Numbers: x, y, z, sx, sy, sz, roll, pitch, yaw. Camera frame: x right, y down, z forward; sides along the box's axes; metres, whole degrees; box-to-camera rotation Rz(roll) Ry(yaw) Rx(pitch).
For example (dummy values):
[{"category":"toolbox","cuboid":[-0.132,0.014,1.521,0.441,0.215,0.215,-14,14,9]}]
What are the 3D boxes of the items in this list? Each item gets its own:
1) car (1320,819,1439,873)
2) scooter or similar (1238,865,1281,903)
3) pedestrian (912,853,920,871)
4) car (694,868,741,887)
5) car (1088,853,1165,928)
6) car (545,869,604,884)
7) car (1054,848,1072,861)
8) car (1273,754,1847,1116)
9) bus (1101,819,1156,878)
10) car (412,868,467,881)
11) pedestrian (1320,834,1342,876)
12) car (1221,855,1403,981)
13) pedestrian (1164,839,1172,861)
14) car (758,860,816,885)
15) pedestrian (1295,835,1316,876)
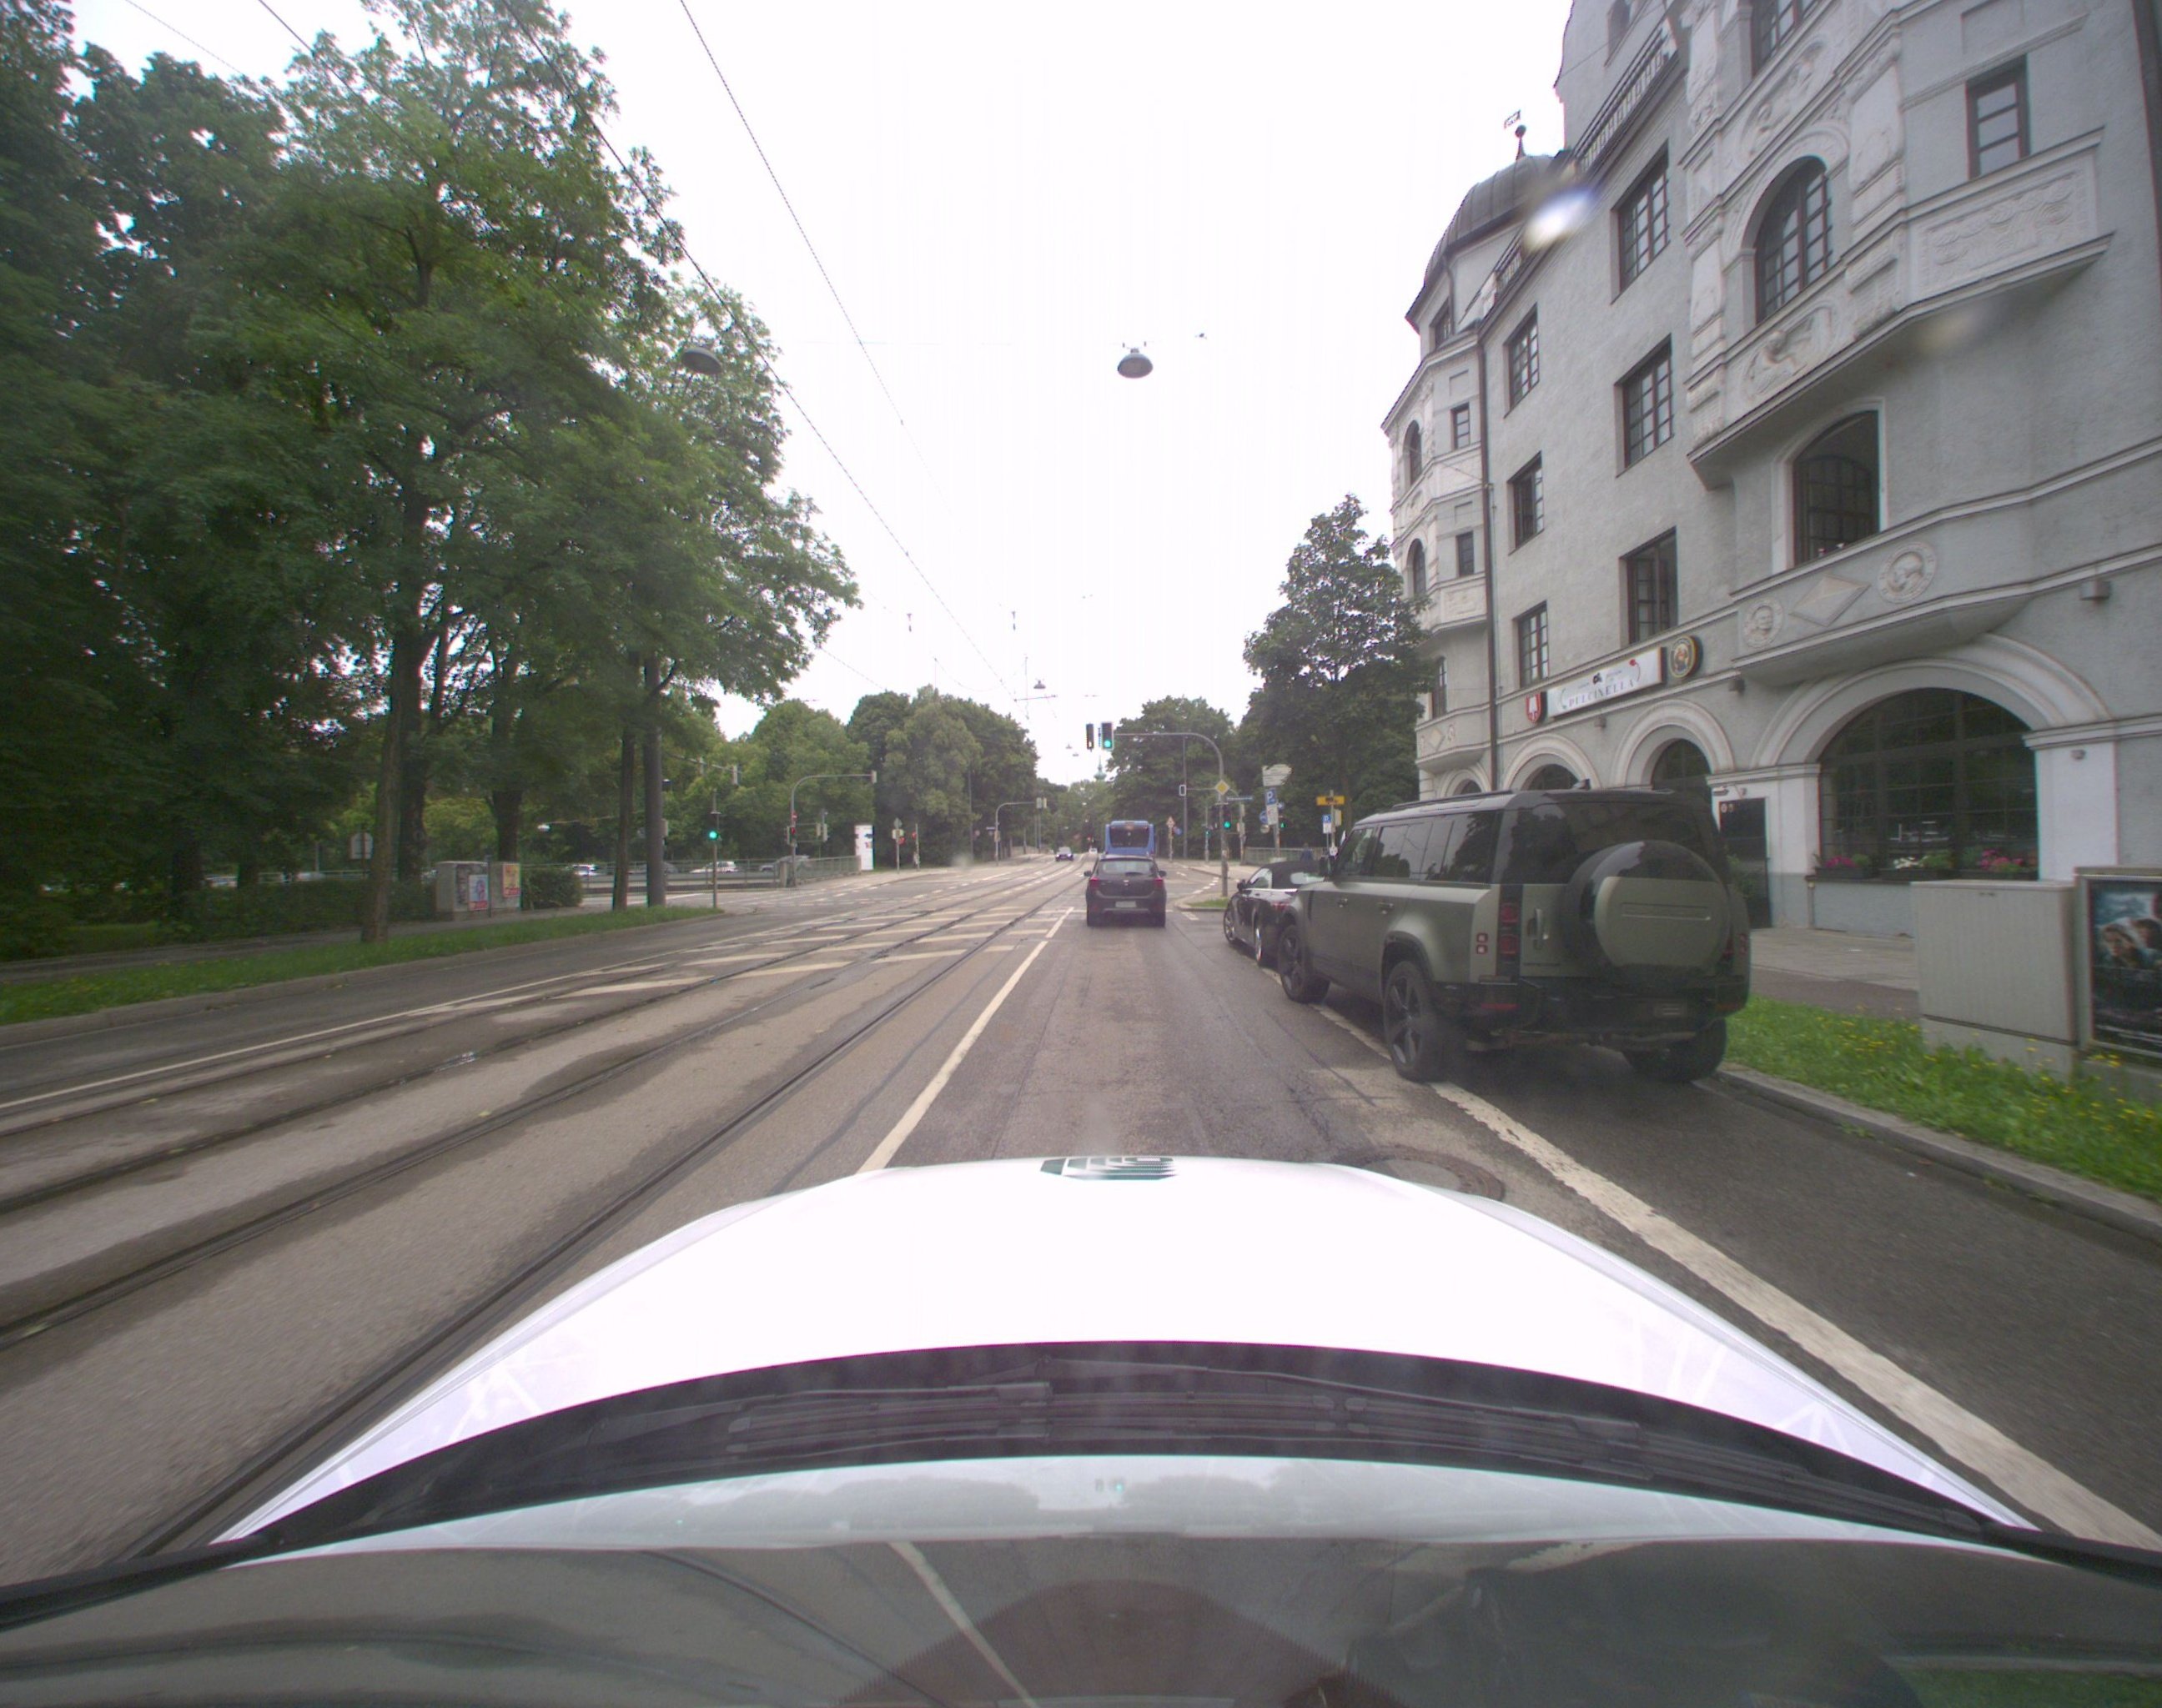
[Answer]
[{"category":"car","cuboid":[15.125,-0.394,41.467,5.280,2.613,2.229,0,-1,-2]},{"category":"scooter or similar","cuboid":[5.201,0.864,23.683,1.184,1.096,0.592,0,-1,15]},{"category":"pedestrian","cuboid":[-13.927,0.670,68.688,0.529,1.501,0.589,0,-1,6]},{"category":"car","cuboid":[-28.263,1.825,63.406,3.103,1.452,1.249,0,-1,-4]},{"category":"car","cuboid":[0.981,0.769,18.681,1.595,1.556,3.526,0,0,1]},{"category":"car","cuboid":[-39.395,1.751,63.374,3.720,1.185,1.249,0,-1,-4]},{"category":"car","cuboid":[-1.936,0.075,86.275,1.782,1.370,3.400,0,0,0]},{"category":"car","cuboid":[3.105,0.444,6.713,1.908,1.906,4.806,0,0,0]},{"category":"bus","cuboid":[2.501,-0.265,45.014,2.670,2.997,6.959,0,0,0]},{"category":"car","cuboid":[-49.226,1.539,62.537,3.103,0.972,1.249,0,0,-4]},{"category":"pedestrian","cuboid":[11.922,0.054,38.908,0.827,2.014,0.780,0,-1,1]},{"category":"car","cuboid":[3.308,0.822,12.509,1.708,1.591,4.329,0,0,2]},{"category":"pedestrian","cuboid":[8.728,-0.405,82.045,0.760,2.116,0.854,0,-1,2]},{"category":"car","cuboid":[-23.149,1.447,64.286,4.015,1.887,1.488,0,-1,-5]},{"category":"pedestrian","cuboid":[10.910,0.075,39.612,0.827,2.014,0.780,0,-1,1]}]
